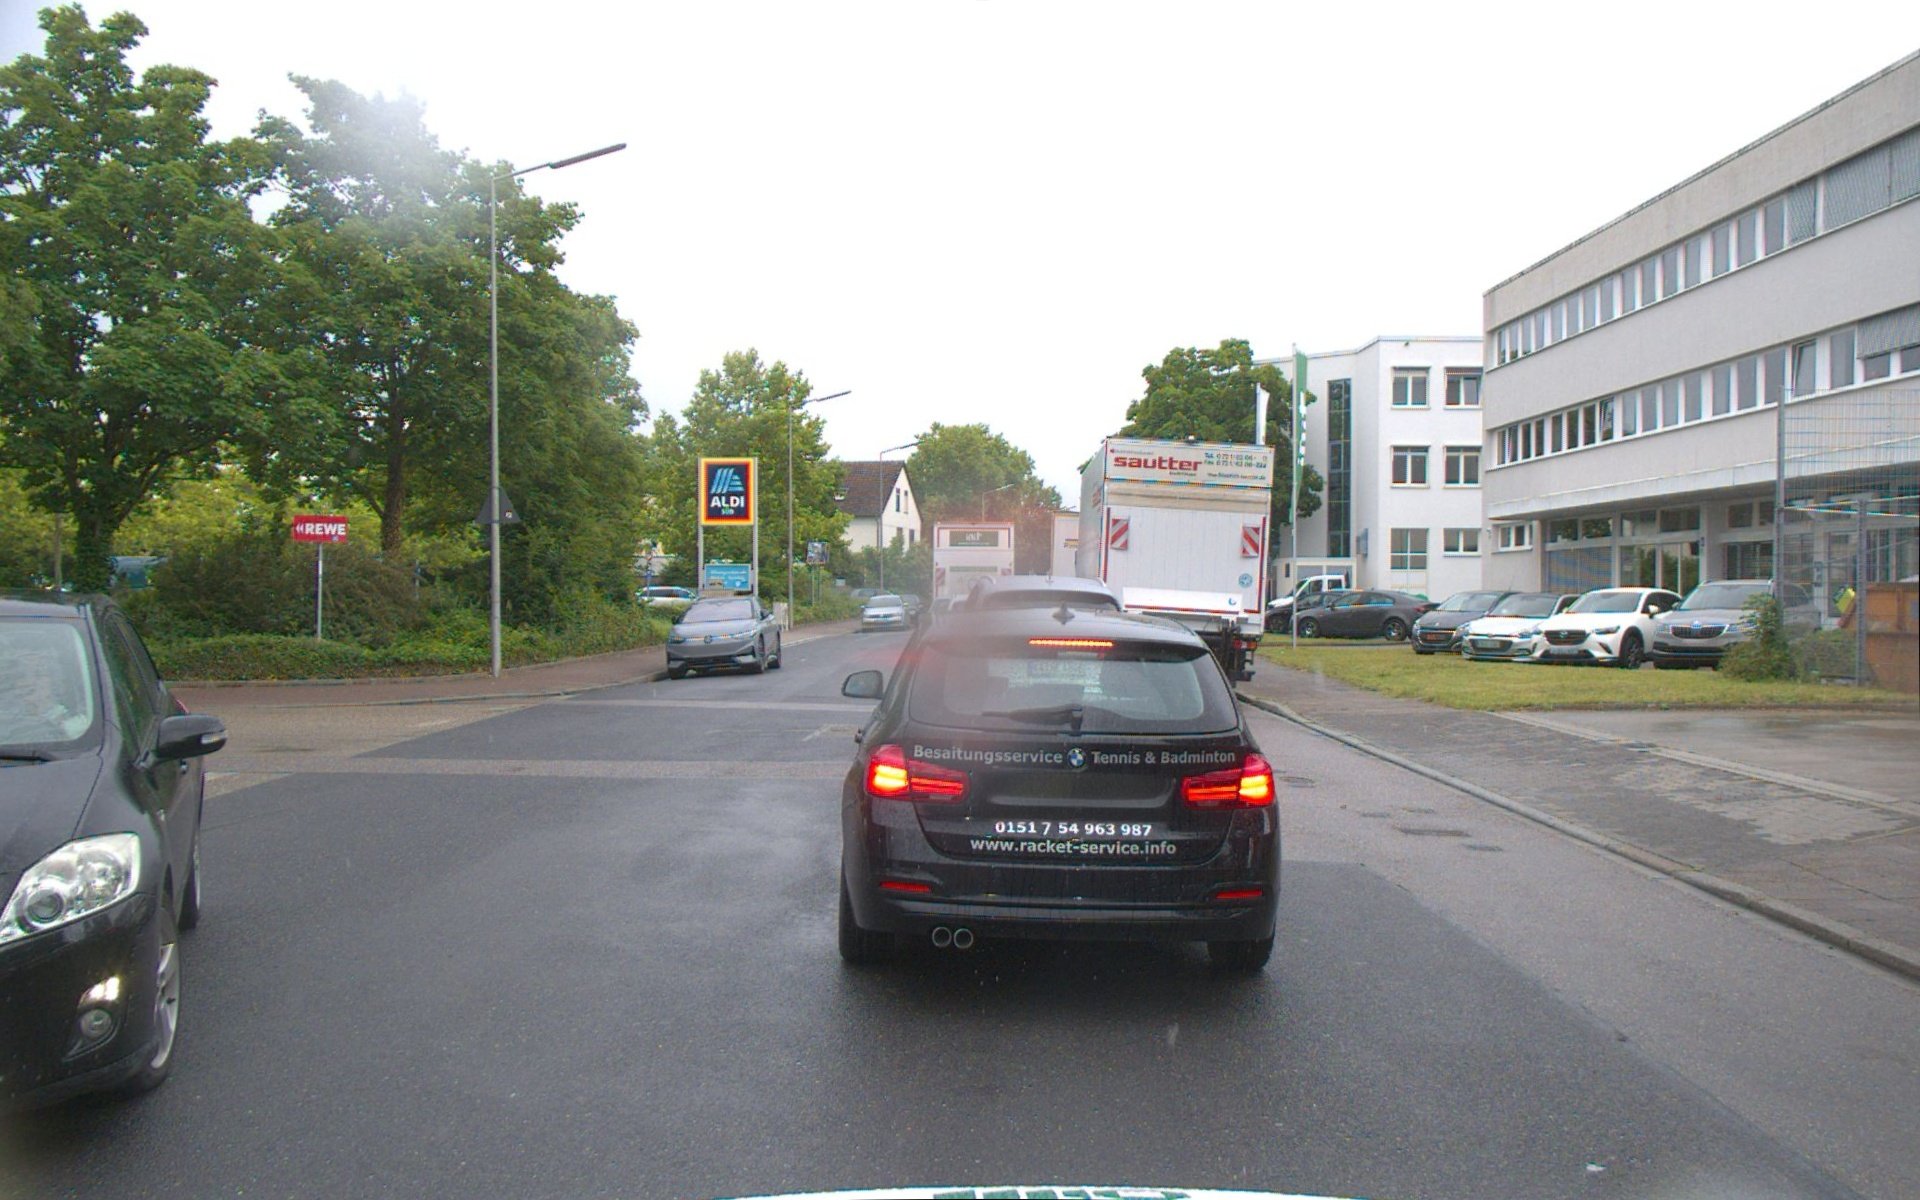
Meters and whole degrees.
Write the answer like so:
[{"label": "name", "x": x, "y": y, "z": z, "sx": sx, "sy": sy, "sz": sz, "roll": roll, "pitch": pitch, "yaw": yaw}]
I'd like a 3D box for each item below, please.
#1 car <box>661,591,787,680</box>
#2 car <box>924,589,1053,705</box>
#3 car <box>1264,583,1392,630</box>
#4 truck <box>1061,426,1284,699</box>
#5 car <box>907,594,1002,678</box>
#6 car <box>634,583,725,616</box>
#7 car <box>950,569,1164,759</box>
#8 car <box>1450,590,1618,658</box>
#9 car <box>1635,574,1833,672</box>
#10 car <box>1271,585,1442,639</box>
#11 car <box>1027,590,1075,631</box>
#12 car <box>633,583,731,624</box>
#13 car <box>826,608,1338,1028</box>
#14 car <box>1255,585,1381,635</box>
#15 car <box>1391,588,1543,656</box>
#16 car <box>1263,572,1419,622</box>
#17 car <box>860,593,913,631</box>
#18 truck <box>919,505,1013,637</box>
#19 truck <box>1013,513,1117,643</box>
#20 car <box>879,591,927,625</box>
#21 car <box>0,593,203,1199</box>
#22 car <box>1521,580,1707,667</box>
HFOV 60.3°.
[{"label": "car", "x": -4.673, "y": 0.654, "z": 33.397, "sx": 1.772, "sy": 1.555, "sz": 4.747, "roll": -4, "pitch": 0, "yaw": 0}, {"label": "car", "x": 0.354, "y": 0.652, "z": 24.971, "sx": 1.768, "sy": 1.579, "sz": 3.999, "roll": 1, "pitch": 0, "yaw": -1}, {"label": "car", "x": 12.777, "y": 0.197, "z": 57.549, "sx": 4.076, "sy": 1.440, "sz": 1.681, "roll": 2, "pitch": 3, "yaw": 42}, {"label": "truck", "x": 3.386, "y": -0.569, "z": 28.762, "sx": 2.685, "sy": 3.855, "sz": 9.300, "roll": 3, "pitch": 0, "yaw": 1}, {"label": "car", "x": -0.144, "y": 0.683, "z": 33.293, "sx": 1.768, "sy": 1.579, "sz": 3.999, "roll": 1, "pitch": 0, "yaw": -1}, {"label": "car", "x": -13.245, "y": -0.028, "z": 78.209, "sx": 3.904, "sy": 1.567, "sz": 1.911, "roll": 0, "pitch": 0, "yaw": 1}, {"label": "car", "x": 0.822, "y": 0.553, "z": 16.223, "sx": 1.768, "sy": 1.614, "sz": 3.999, "roll": 1, "pitch": 0, "yaw": -1}, {"label": "car", "x": 11.767, "y": 0.448, "z": 33.793, "sx": 3.970, "sy": 1.309, "sz": 1.679, "roll": 0, "pitch": 1, "yaw": -45}, {"label": "car", "x": 13.256, "y": 0.345, "z": 28.240, "sx": 3.971, "sy": 1.554, "sz": 1.842, "roll": 0, "pitch": 1, "yaw": -45}, {"label": "car", "x": 11.592, "y": 0.328, "z": 48.533, "sx": 4.587, "sy": 1.493, "sz": 1.783, "roll": 0, "pitch": 0, "yaw": 39}, {"label": "car", "x": 3.636, "y": 0.404, "z": 66.507, "sx": 1.864, "sy": 1.567, "sz": 4.001, "roll": 0, "pitch": 0, "yaw": 2}, {"label": "car", "x": -10.882, "y": 0.122, "z": 64.869, "sx": 3.495, "sy": 1.485, "sz": 1.713, "roll": 2, "pitch": 0, "yaw": 2}, {"label": "car", "x": 0.389, "y": 0.771, "z": 7.752, "sx": 1.768, "sy": 1.419, "sz": 3.999, "roll": 1, "pitch": 0, "yaw": -1}, {"label": "car", "x": 11.889, "y": 0.311, "z": 55.087, "sx": 3.713, "sy": 1.420, "sz": 1.717, "roll": 4, "pitch": 3, "yaw": 41}, {"label": "car", "x": 11.295, "y": 0.455, "z": 36.724, "sx": 3.740, "sy": 1.417, "sz": 1.679, "roll": 0, "pitch": 1, "yaw": -44}, {"label": "car", "x": 16.512, "y": -0.120, "z": 71.834, "sx": 6.326, "sy": 2.049, "sz": 1.998, "roll": 1, "pitch": 0, "yaw": -4}, {"label": "car", "x": -2.914, "y": 0.470, "z": 66.589, "sx": 1.670, "sy": 1.391, "sz": 4.603, "roll": -2, "pitch": 0, "yaw": 3}, {"label": "truck", "x": 0.147, "y": -0.926, "z": 46.663, "sx": 2.293, "sy": 3.312, "sz": 7.752, "roll": 3, "pitch": 3, "yaw": 0}, {"label": "truck", "x": 3.191, "y": -0.672, "z": 52.183, "sx": 2.685, "sy": 3.674, "sz": 7.750, "roll": 2, "pitch": 0, "yaw": 0}, {"label": "car", "x": -2.488, "y": 0.339, "z": 72.797, "sx": 1.670, "sy": 1.391, "sz": 3.840, "roll": -2, "pitch": 0, "yaw": 4}, {"label": "car", "x": -3.531, "y": 0.729, "z": 5.600, "sx": 1.708, "sy": 1.466, "sz": 3.969, "roll": -1, "pitch": 1, "yaw": -24}, {"label": "car", "x": 12.098, "y": 0.381, "z": 30.489, "sx": 3.970, "sy": 1.496, "sz": 1.747, "roll": 0, "pitch": 1, "yaw": -45}]
